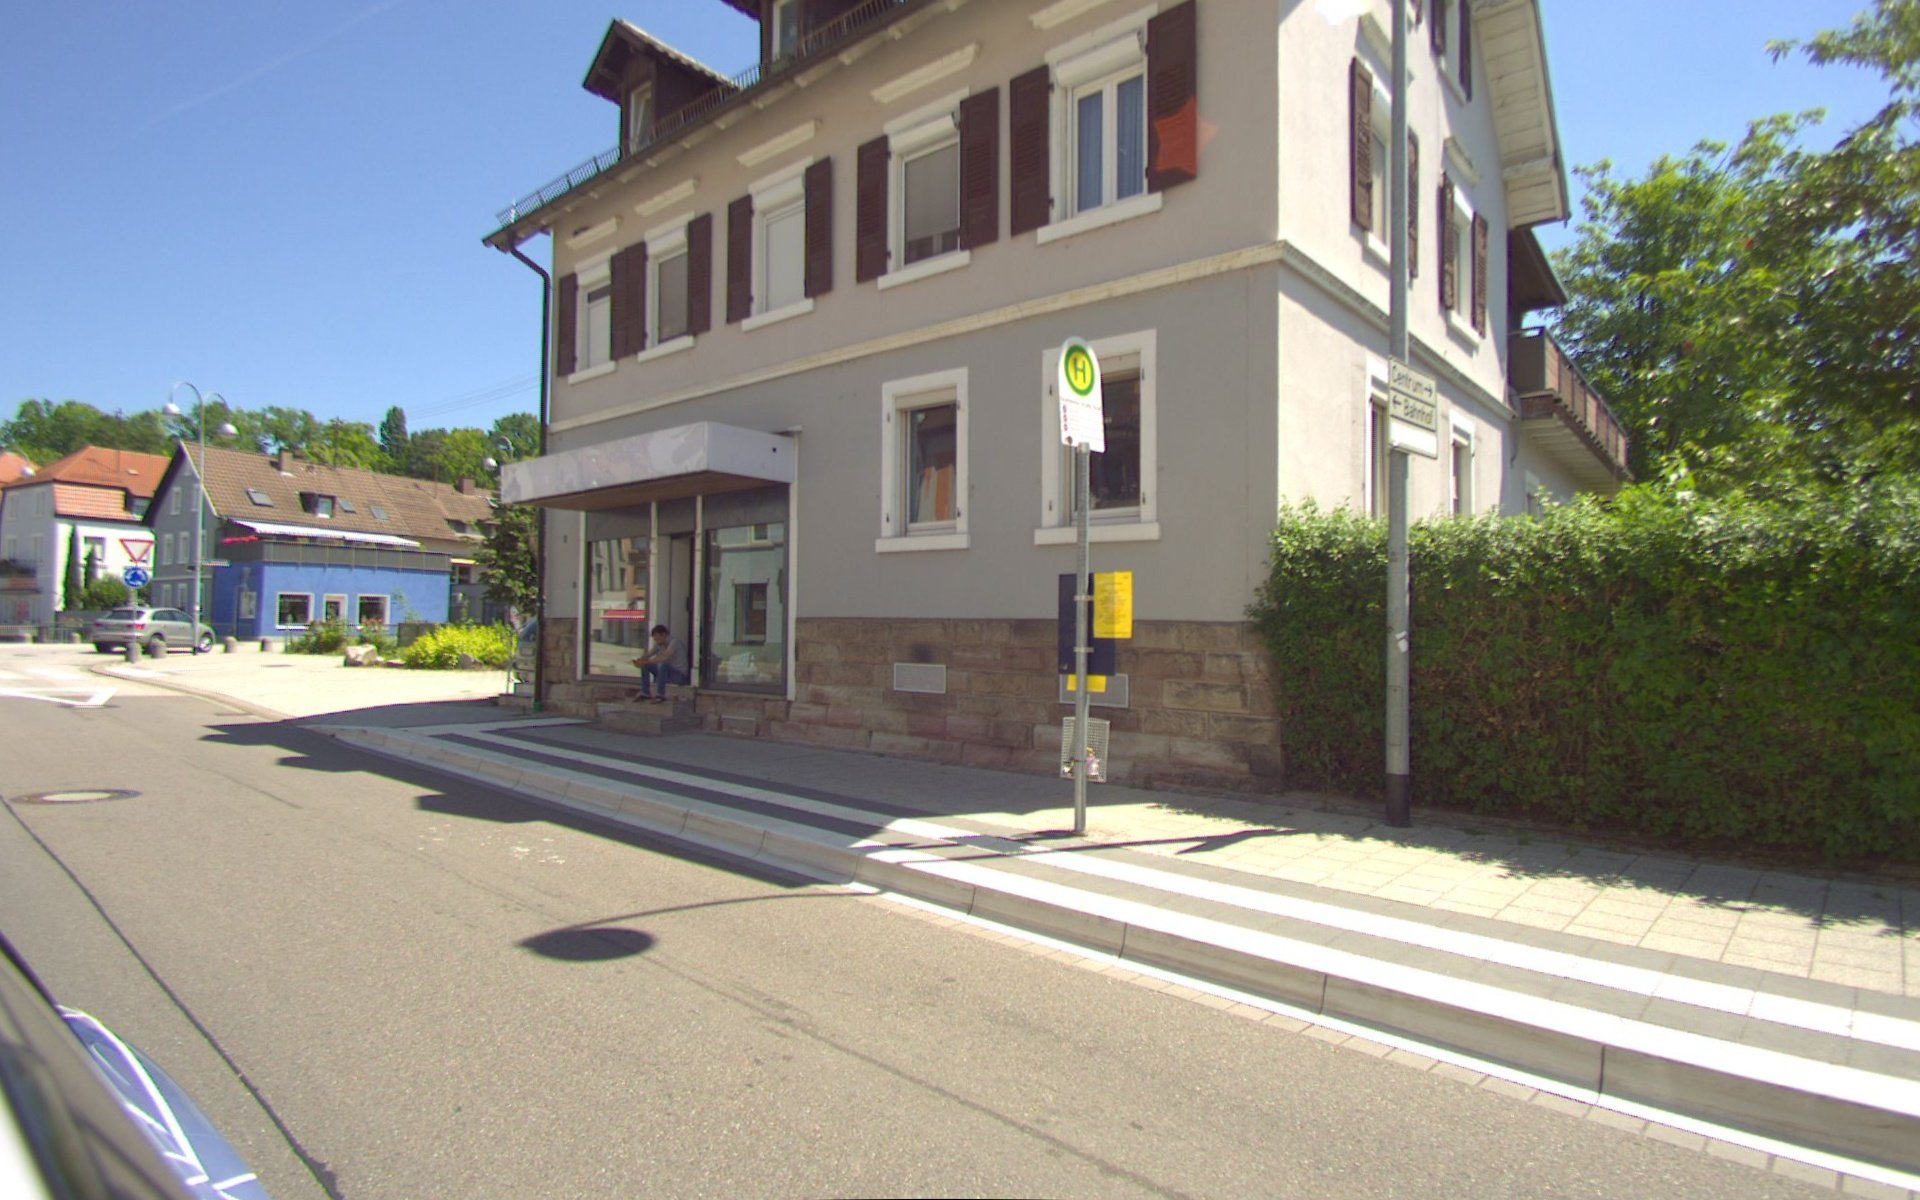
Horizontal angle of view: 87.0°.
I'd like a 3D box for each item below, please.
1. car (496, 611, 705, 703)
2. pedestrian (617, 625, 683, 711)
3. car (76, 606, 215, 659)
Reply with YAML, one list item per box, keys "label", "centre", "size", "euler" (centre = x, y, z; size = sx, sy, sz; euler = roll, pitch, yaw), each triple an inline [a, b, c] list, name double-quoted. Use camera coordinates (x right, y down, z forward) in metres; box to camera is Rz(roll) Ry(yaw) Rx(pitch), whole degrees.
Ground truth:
- label: "car"
  centre: [-7.098, 1.081, 20.293]
  size: [1.600, 1.674, 3.676]
  euler: [-1, -2, 37]
- label: "pedestrian"
  centre: [-4.020, 0.865, 13.138]
  size: [0.566, 1.067, 0.590]
  euler: [-1, -2, 39]
- label: "car"
  centre: [-28.029, 1.132, 34.986]
  size: [1.789, 1.620, 3.921]
  euler: [3, -2, -5]
